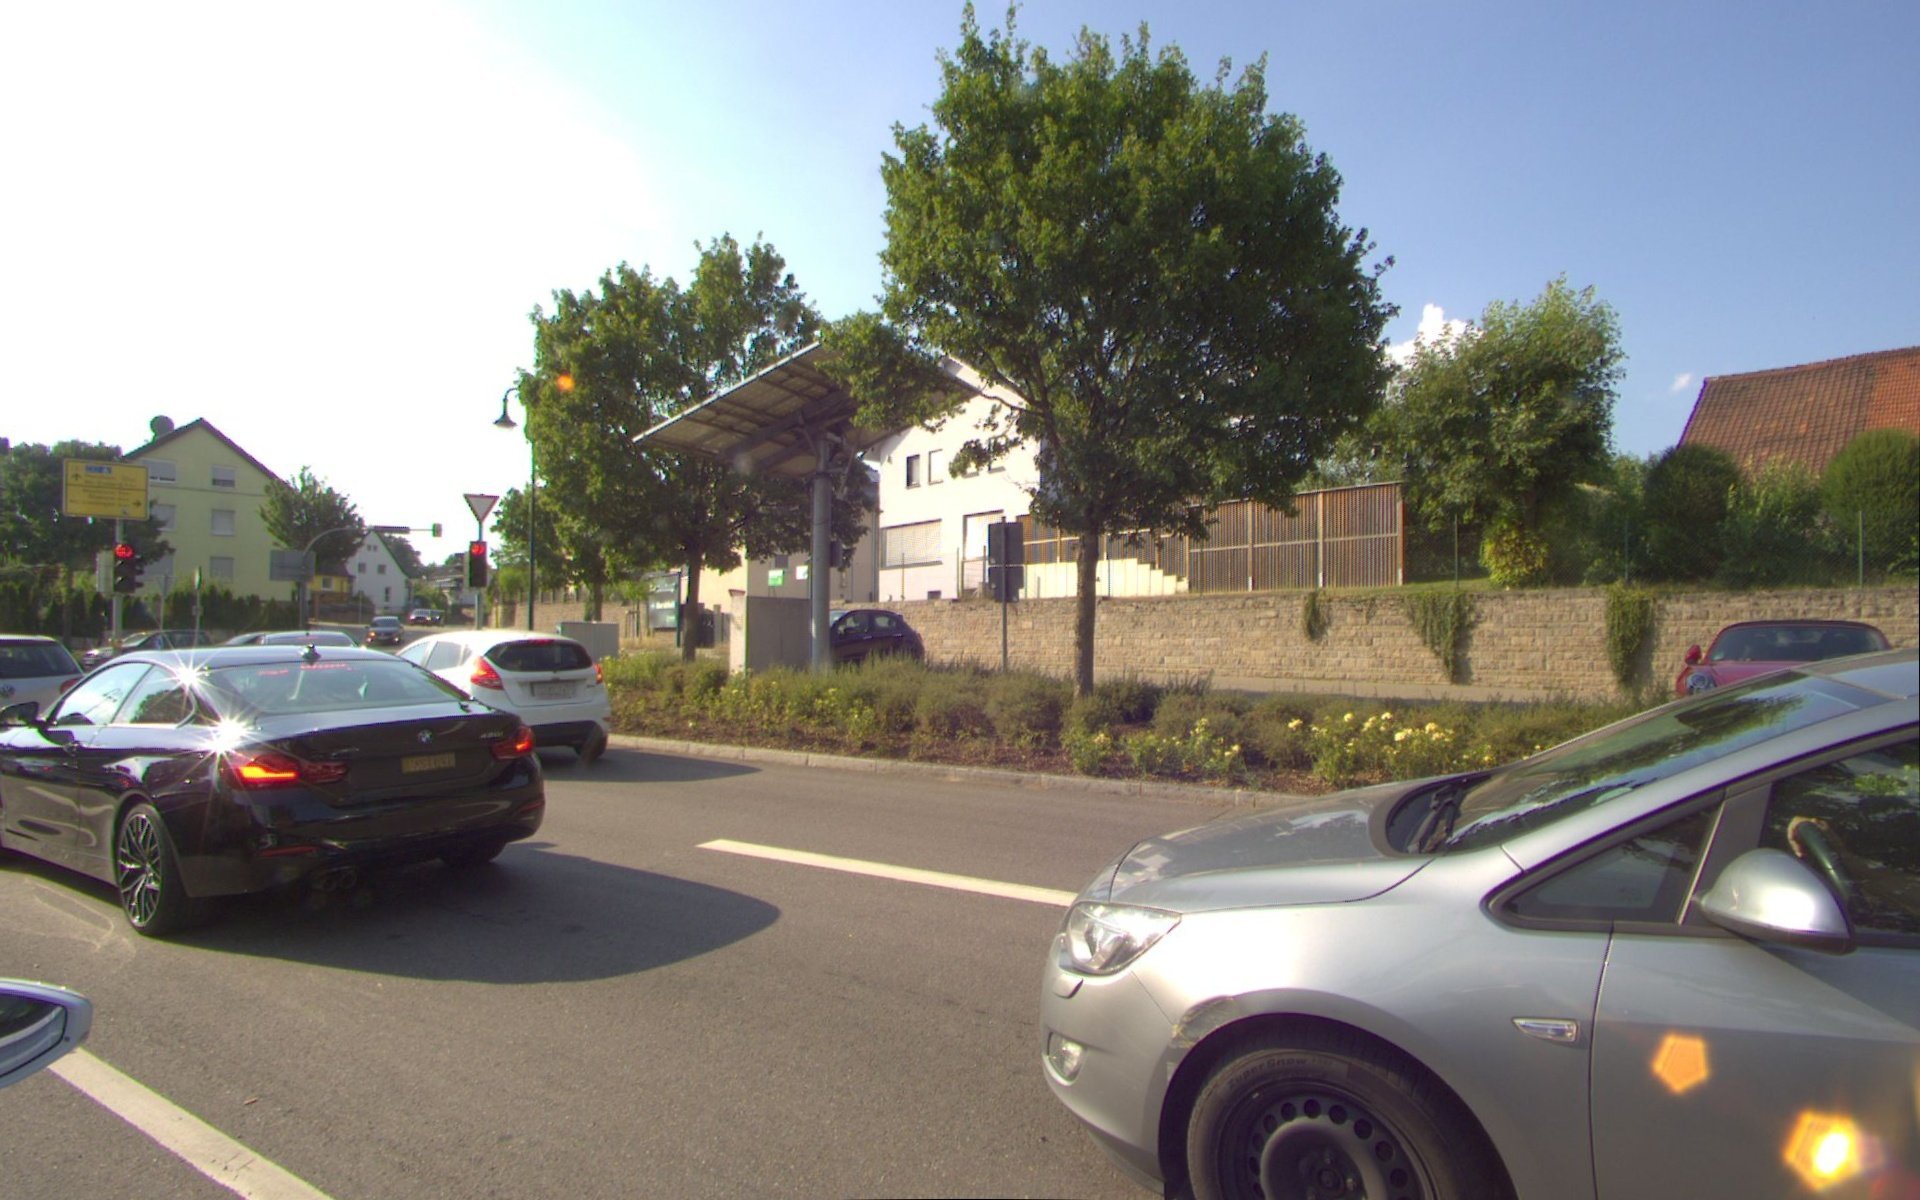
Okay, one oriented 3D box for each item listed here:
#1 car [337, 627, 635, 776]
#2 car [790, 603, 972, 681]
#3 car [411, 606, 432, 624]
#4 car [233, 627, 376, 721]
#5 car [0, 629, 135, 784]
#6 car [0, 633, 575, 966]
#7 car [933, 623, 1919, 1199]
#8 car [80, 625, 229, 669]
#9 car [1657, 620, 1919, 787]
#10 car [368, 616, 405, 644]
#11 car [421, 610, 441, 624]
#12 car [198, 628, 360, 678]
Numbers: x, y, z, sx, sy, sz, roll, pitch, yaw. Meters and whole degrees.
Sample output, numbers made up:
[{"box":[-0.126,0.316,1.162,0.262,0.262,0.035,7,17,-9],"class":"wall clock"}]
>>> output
[{"box":[-5.703,1.060,11.842,4.022,1.469,1.721,-1,-2,41],"class":"car"},{"box":[-1.755,0.952,23.022,1.835,1.628,3.964,-1,-2,45],"class":"car"},{"box":[-51.485,1.463,95.779,1.755,1.600,3.983,1,-2,-27],"class":"car"},{"box":[-11.789,1.220,17.881,1.668,1.454,4.552,1,-2,-39],"class":"car"},{"box":[-10.800,1.045,10.797,4.287,1.465,1.812,-1,-2,34],"class":"car"},{"box":[-4.499,0.916,6.238,4.287,1.406,1.812,-1,-2,34],"class":"car"},{"box":[2.123,0.786,2.198,4.107,1.460,1.741,-1,-2,32],"class":"car"},{"box":[-30.069,1.727,37.517,1.759,1.526,4.065,0,-2,17],"class":"car"},{"box":[8.244,0.863,9.680,1.835,1.288,3.964,-1,-2,45],"class":"car"},{"box":[-31.619,1.623,55.257,1.691,1.261,3.977,1,2,-29],"class":"car"},{"box":[-61.462,1.998,116.447,1.753,1.600,3.987,1,-2,-24],"class":"car"},{"box":[-21.621,1.645,31.903,1.752,1.477,3.969,-1,-2,41],"class":"car"}]
